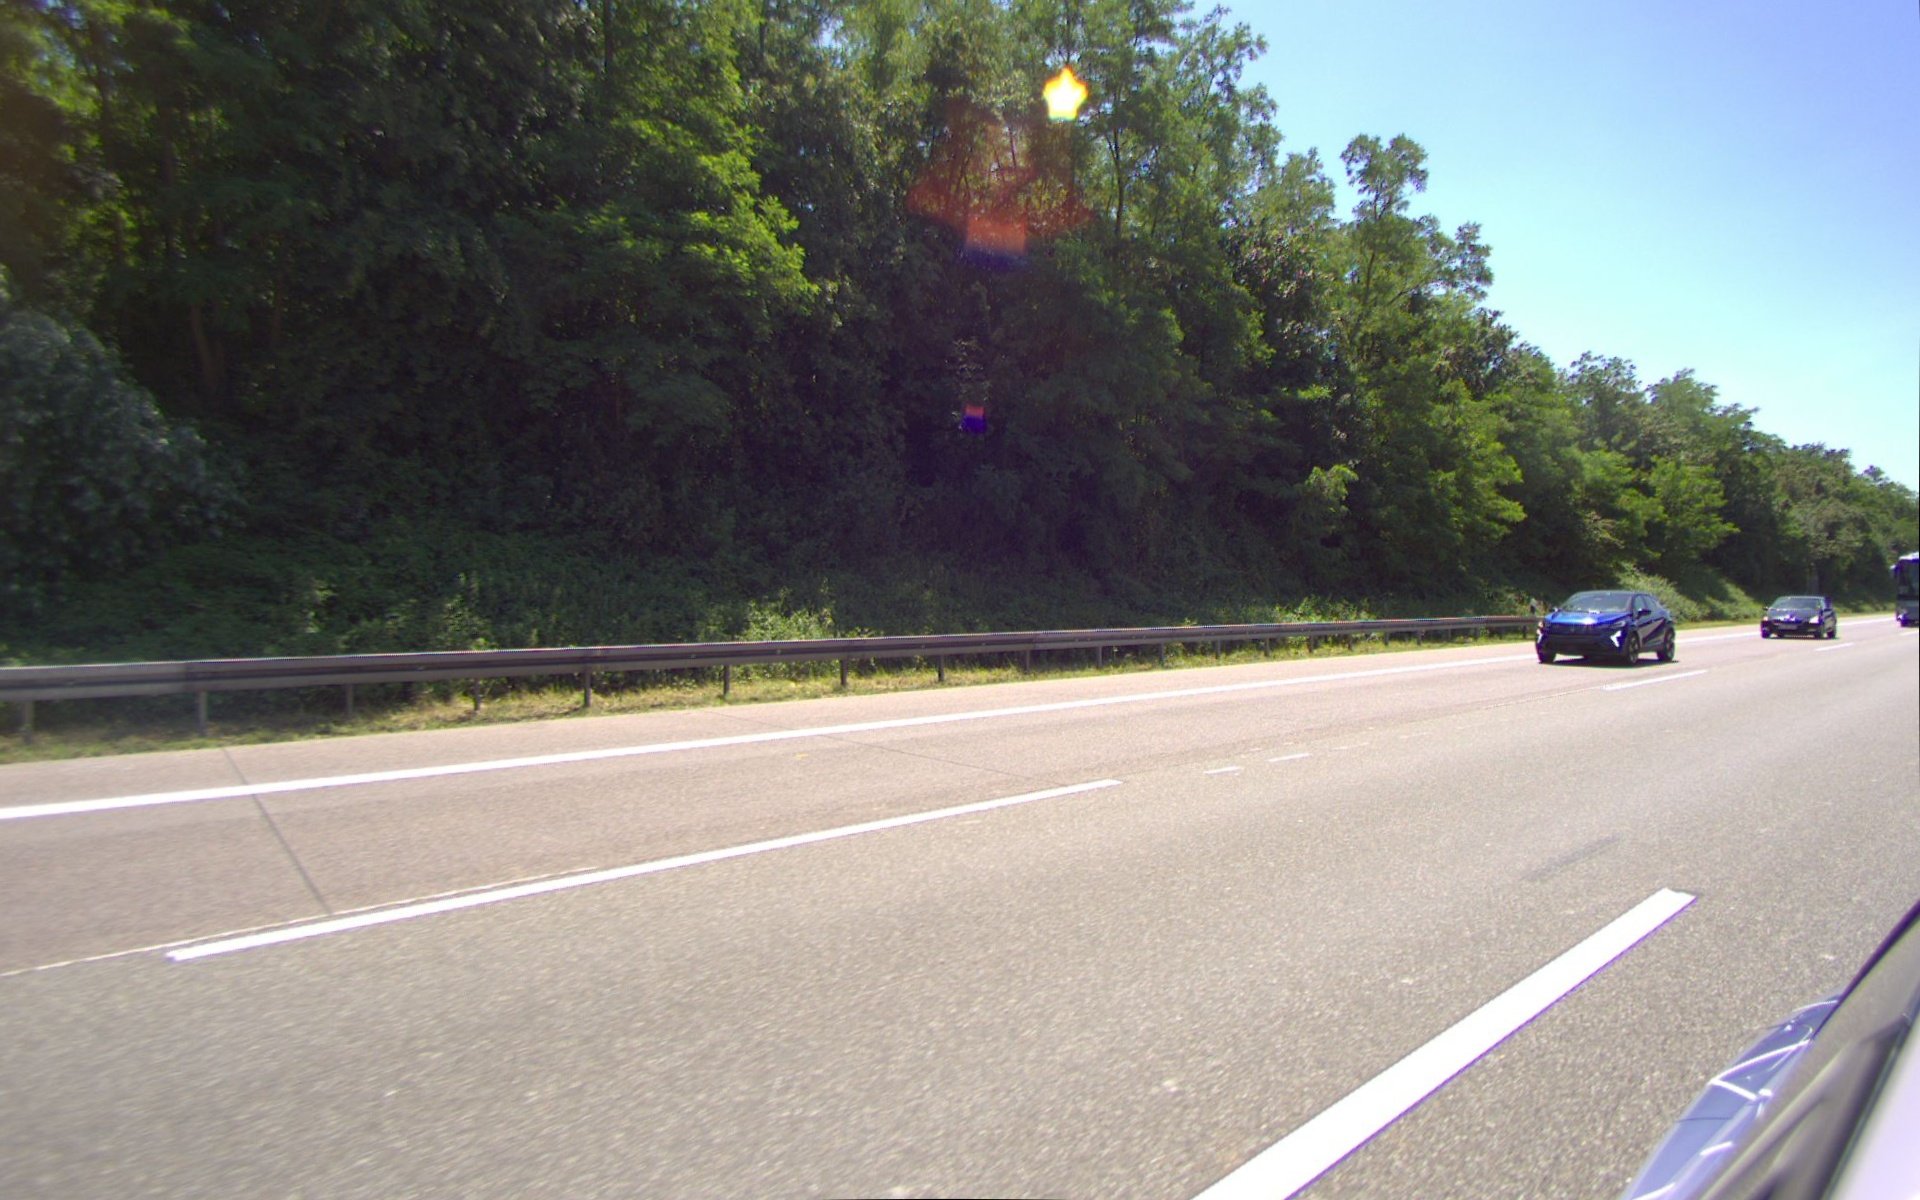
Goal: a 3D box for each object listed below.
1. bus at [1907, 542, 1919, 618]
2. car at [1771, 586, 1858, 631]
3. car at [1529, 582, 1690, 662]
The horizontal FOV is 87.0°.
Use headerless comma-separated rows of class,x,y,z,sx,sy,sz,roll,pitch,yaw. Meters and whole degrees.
bus,50.882,-1.032,51.527,13.445,3.597,2.614,-1,1,-41
car,29.891,0.257,35.341,4.494,1.465,1.672,-1,1,-41
car,14.282,0.401,22.171,4.128,1.575,1.873,-1,1,-41
